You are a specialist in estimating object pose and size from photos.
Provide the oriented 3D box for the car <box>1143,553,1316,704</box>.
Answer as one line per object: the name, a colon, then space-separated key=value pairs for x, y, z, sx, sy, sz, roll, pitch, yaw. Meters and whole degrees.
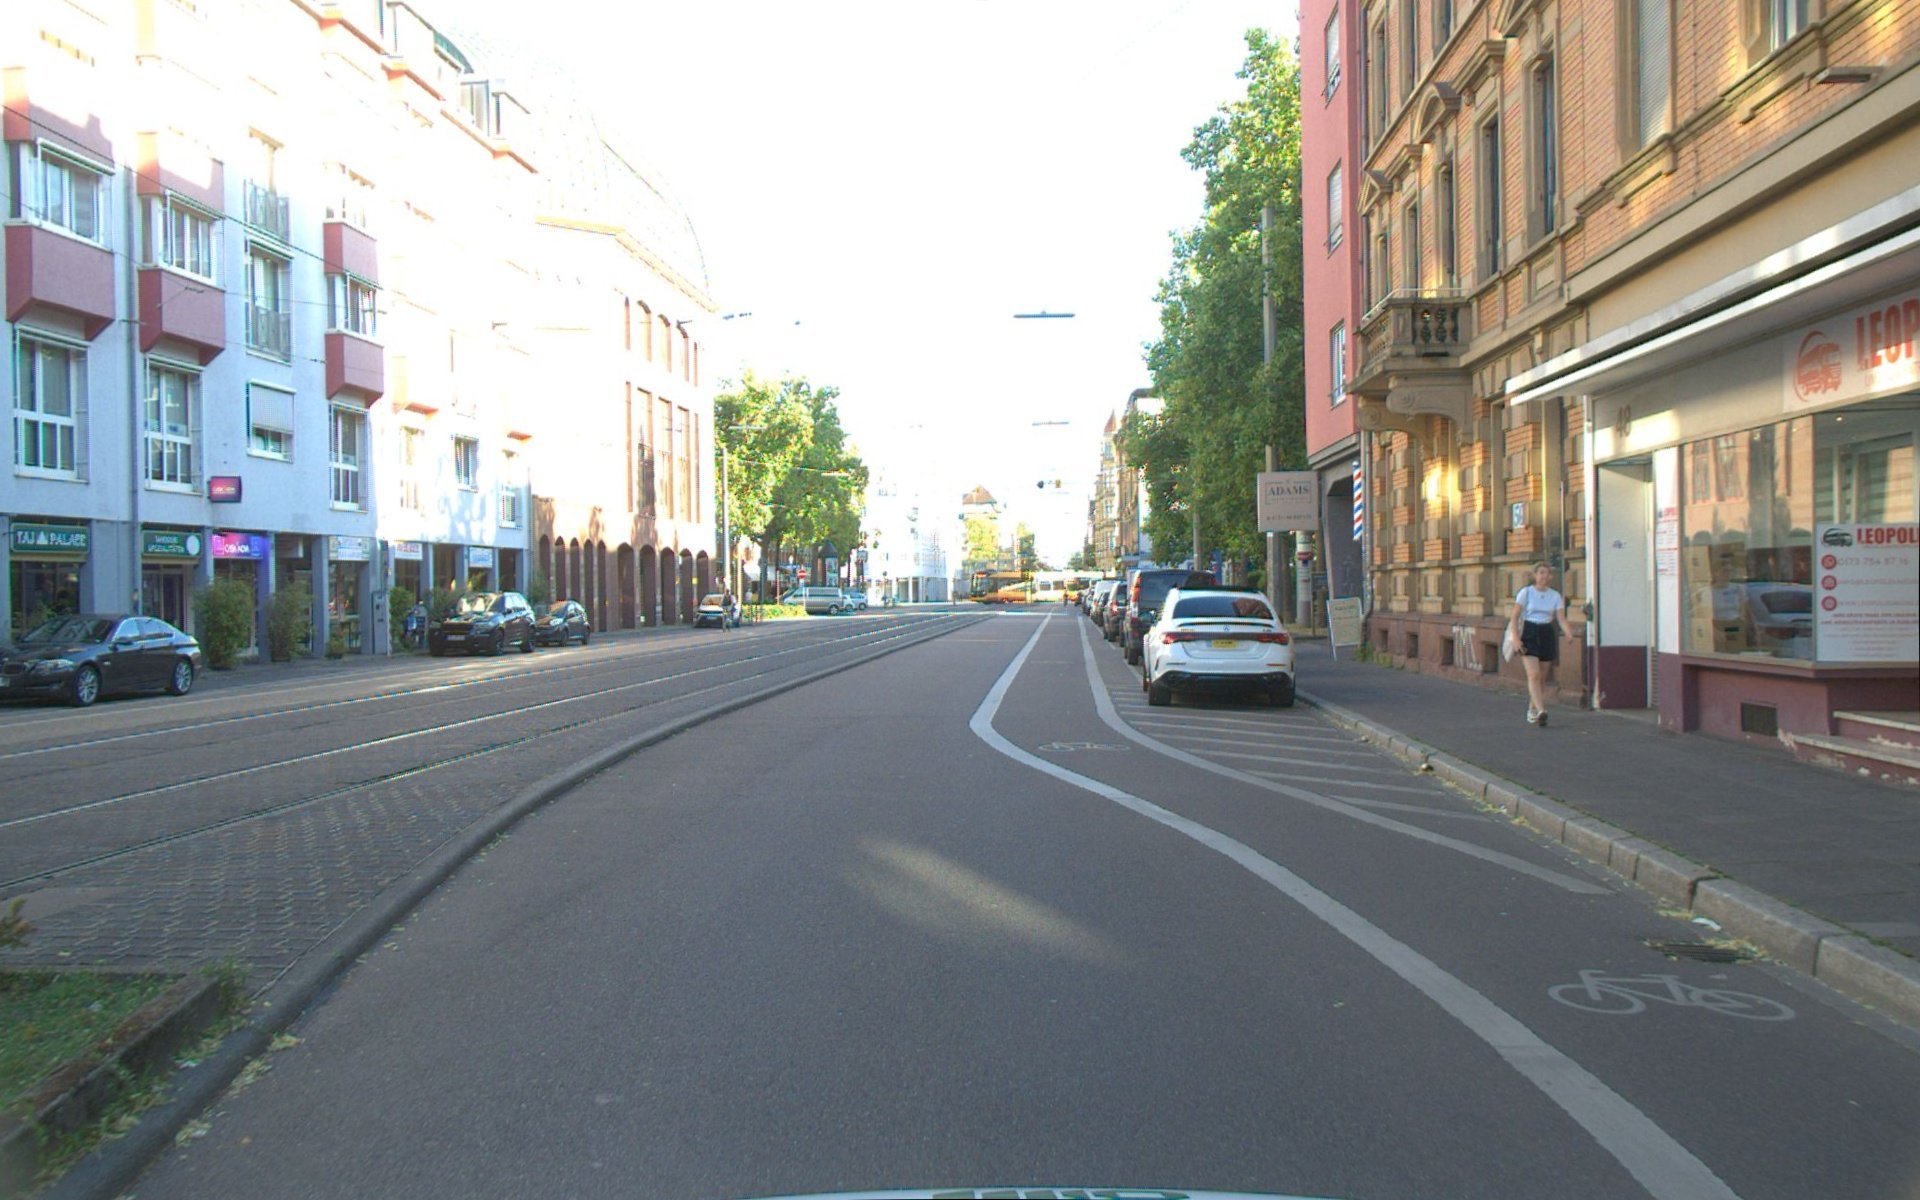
car: x=3.528 y=0.329 z=22.485 sx=1.925 sy=1.802 sz=4.878 roll=1 pitch=0 yaw=5

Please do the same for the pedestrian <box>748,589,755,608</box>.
pedestrian: x=-14.652 y=-0.097 z=116.202 sx=0.356 sy=1.367 sz=0.481 roll=2 pitch=0 yaw=-16

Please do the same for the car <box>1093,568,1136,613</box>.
car: x=7.474 y=-0.447 z=80.194 sx=1.929 sy=2.049 sz=4.561 roll=-2 pitch=0 yaw=5

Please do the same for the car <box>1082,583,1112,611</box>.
car: x=8.167 y=-0.190 z=98.859 sx=1.687 sy=1.595 sz=4.085 roll=-1 pitch=0 yaw=3

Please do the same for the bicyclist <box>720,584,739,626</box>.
bicyclist: x=-9.809 y=0.221 z=70.348 sx=0.559 sy=1.742 sz=0.746 roll=-3 pitch=0 yaw=4

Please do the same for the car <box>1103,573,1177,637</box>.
car: x=5.427 y=0.126 z=50.496 sx=1.909 sy=1.819 sz=5.183 roll=1 pitch=0 yaw=3

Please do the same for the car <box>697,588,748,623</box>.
car: x=-11.630 y=0.235 z=81.227 sx=1.831 sy=1.628 sz=4.255 roll=0 pitch=1 yaw=1

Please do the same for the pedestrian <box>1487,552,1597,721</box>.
pedestrian: x=5.802 y=0.352 z=16.538 sx=0.759 sy=1.594 sz=0.914 roll=-4 pitch=0 yaw=7

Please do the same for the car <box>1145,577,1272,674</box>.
car: x=4.151 y=0.387 z=28.160 sx=1.694 sy=1.522 sz=3.963 roll=1 pitch=0 yaw=2

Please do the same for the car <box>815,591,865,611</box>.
car: x=-10.051 y=0.077 z=138.734 sx=3.823 sy=1.656 sz=1.859 roll=1 pitch=0 yaw=-27

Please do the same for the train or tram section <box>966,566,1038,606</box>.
train or tram section: x=4.659 y=-1.460 z=179.842 sx=2.640 sy=4.029 sz=12.074 roll=2 pitch=0 yaw=28

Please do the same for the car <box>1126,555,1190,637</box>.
car: x=5.384 y=-0.098 z=45.042 sx=1.669 sy=2.157 sz=3.709 roll=0 pitch=0 yaw=7

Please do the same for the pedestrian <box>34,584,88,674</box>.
pedestrian: x=-17.719 y=0.567 z=32.610 sx=0.601 sy=1.742 sz=0.746 roll=-1 pitch=0 yaw=2

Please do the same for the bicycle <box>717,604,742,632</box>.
bicycle: x=-9.785 y=0.753 z=70.259 sx=0.570 sy=1.096 sz=2.186 roll=-3 pitch=0 yaw=3

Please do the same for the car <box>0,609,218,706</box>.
car: x=-14.795 y=0.922 z=28.461 sx=1.831 sy=1.464 sz=4.708 roll=0 pitch=0 yaw=1

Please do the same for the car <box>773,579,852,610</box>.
car: x=-10.650 y=-0.401 z=119.444 sx=5.193 sy=2.078 sz=2.396 roll=1 pitch=-1 yaw=-29

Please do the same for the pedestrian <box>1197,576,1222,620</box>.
pedestrian: x=9.268 y=-0.074 z=61.536 sx=0.759 sy=1.594 sz=0.914 roll=-4 pitch=0 yaw=5

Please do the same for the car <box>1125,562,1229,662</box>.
car: x=4.438 y=0.210 z=34.374 sx=1.914 sy=1.901 sz=4.992 roll=1 pitch=0 yaw=5

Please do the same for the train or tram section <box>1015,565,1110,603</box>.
train or tram section: x=11.815 y=-1.779 z=189.250 sx=12.731 sy=3.946 sz=2.660 roll=1 pitch=0 yaw=-42

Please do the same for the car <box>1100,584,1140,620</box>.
car: x=6.654 y=0.075 z=69.024 sx=1.587 sy=1.456 sz=3.987 roll=0 pitch=0 yaw=4

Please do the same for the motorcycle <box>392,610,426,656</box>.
motorcycle: x=-15.188 y=0.893 z=45.635 sx=0.658 sy=1.226 sz=2.134 roll=1 pitch=-1 yaw=-13

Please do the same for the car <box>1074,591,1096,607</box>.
car: x=11.976 y=-0.125 z=158.349 sx=2.022 sy=1.413 sz=4.227 roll=2 pitch=0 yaw=4

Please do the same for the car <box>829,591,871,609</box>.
car: x=-9.944 y=0.004 z=149.161 sx=3.480 sy=1.507 sz=1.567 roll=1 pitch=0 yaw=-29

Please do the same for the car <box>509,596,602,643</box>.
car: x=-13.312 y=0.613 z=54.630 sx=1.829 sy=1.476 sz=3.586 roll=0 pitch=0 yaw=7

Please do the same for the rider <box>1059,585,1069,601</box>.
rider: x=9.778 y=-0.638 z=154.988 sx=0.865 sy=1.507 sz=0.713 roll=1 pitch=0 yaw=5

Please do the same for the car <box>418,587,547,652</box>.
car: x=-13.557 y=0.552 z=47.281 sx=2.047 sy=1.742 sz=4.821 roll=1 pitch=-1 yaw=3
